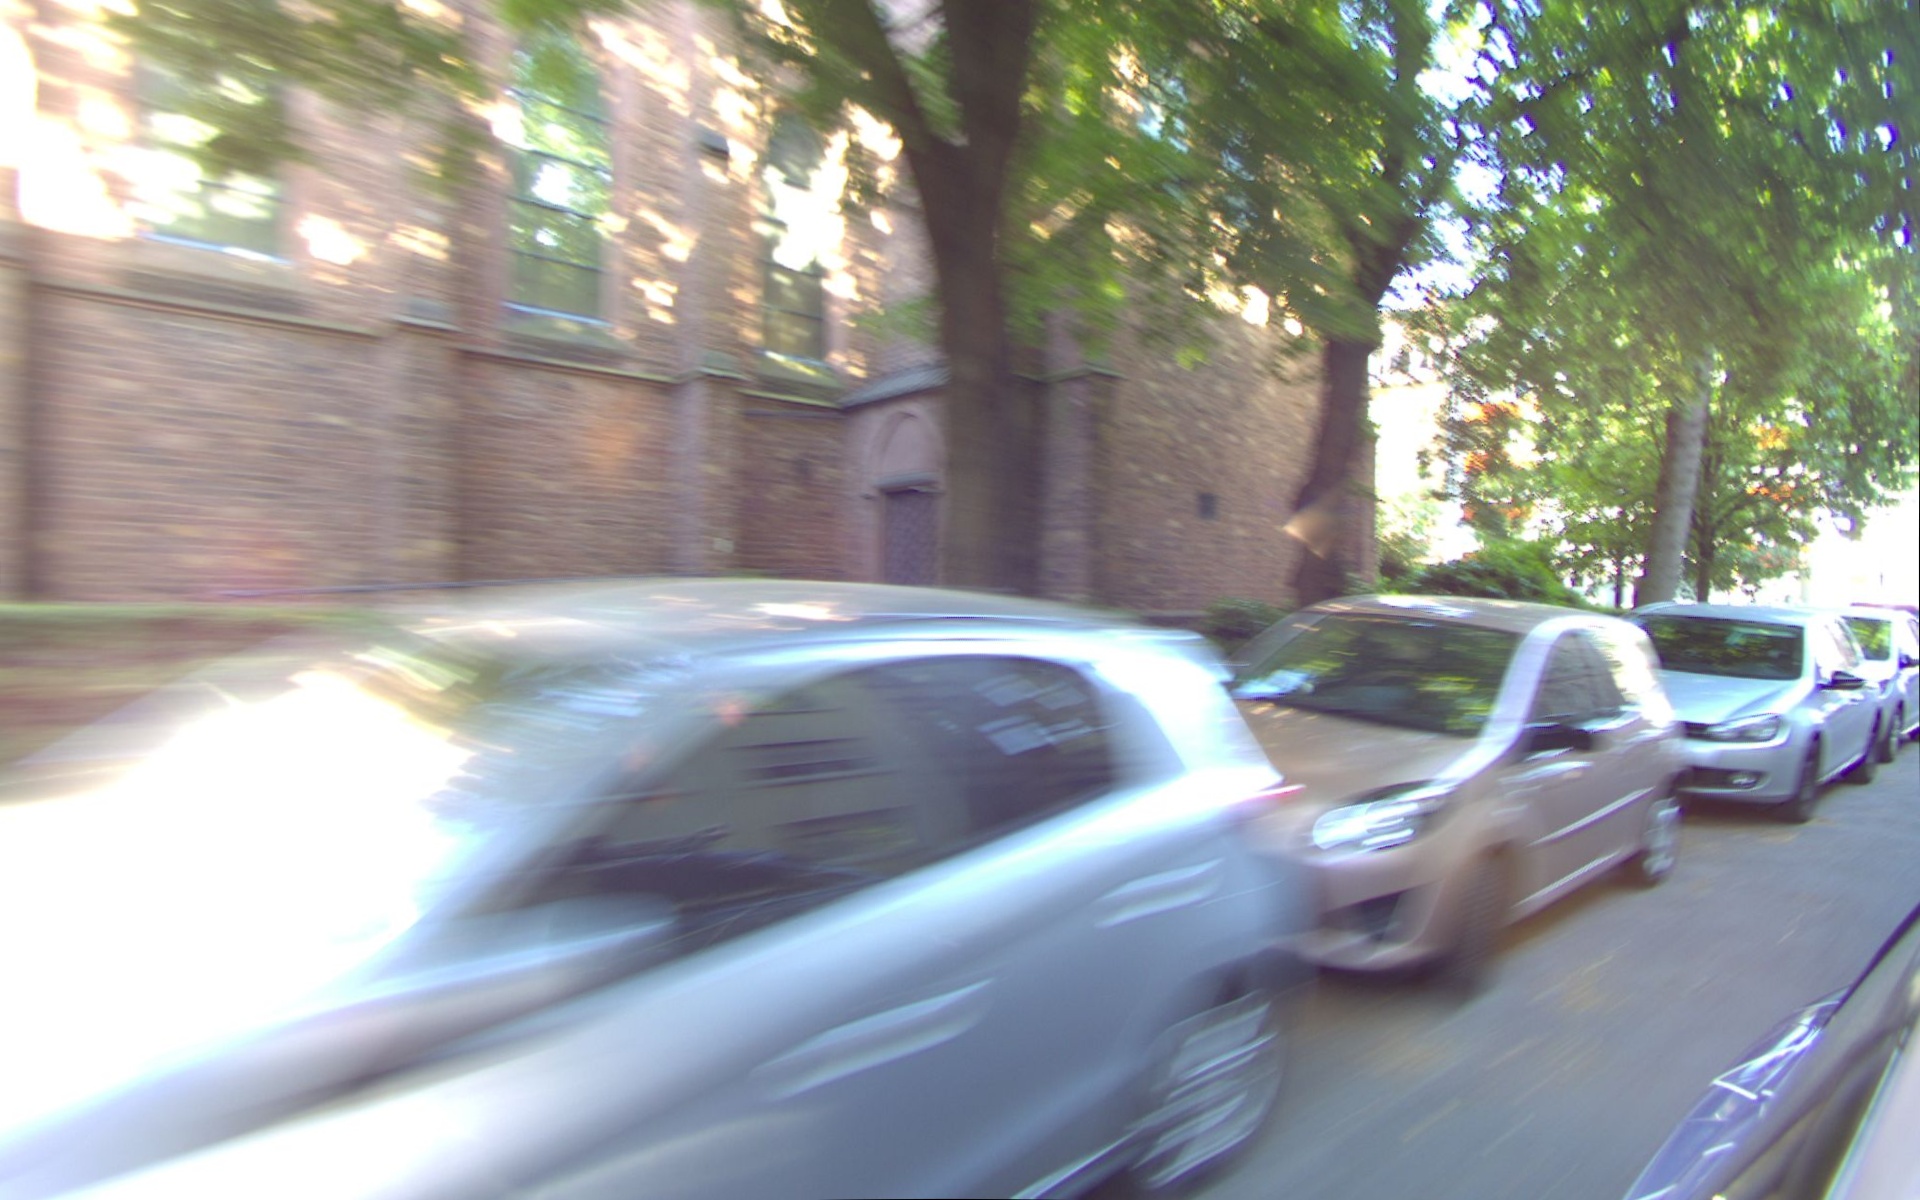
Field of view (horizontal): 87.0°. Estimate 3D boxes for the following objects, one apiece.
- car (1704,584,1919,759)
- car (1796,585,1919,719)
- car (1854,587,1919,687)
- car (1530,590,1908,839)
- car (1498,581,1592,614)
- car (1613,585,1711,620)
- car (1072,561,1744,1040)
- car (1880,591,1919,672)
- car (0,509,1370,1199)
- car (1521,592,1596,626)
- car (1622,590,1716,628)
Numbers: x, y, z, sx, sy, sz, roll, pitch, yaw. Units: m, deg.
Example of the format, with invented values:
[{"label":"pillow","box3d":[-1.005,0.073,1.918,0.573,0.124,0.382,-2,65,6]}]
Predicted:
[{"label":"car","box3d":[9.895,0.653,11.336,3.654,1.523,1.604,-1,6,-40]},{"label":"car","box3d":[13.517,0.654,14.343,4.026,1.604,1.669,-1,6,-39]},{"label":"car","box3d":[17.110,0.618,17.724,3.884,1.537,1.668,-1,6,-42]},{"label":"car","box3d":[6.304,0.710,8.261,3.801,1.488,1.603,-1,3,-40]},{"label":"car","box3d":[31.020,-0.143,53.748,1.621,1.636,4.033,-3,3,-41]},{"label":"car","box3d":[34.348,0.090,49.572,1.621,1.577,3.692,-3,3,-41]},{"label":"car","box3d":[2.388,0.621,5.050,3.500,1.485,1.604,-1,6,-40]},{"label":"car","box3d":[20.776,0.657,21.131,3.988,1.537,1.669,-1,6,-40]},{"label":"car","box3d":[-0.751,0.631,2.216,3.567,1.523,1.602,-1,6,-43]},{"label":"car","box3d":[27.460,0.387,46.566,1.756,1.449,4.397,-1,1,14]},{"label":"car","box3d":[29.592,0.325,42.398,1.756,1.449,4.397,-1,1,14]}]
